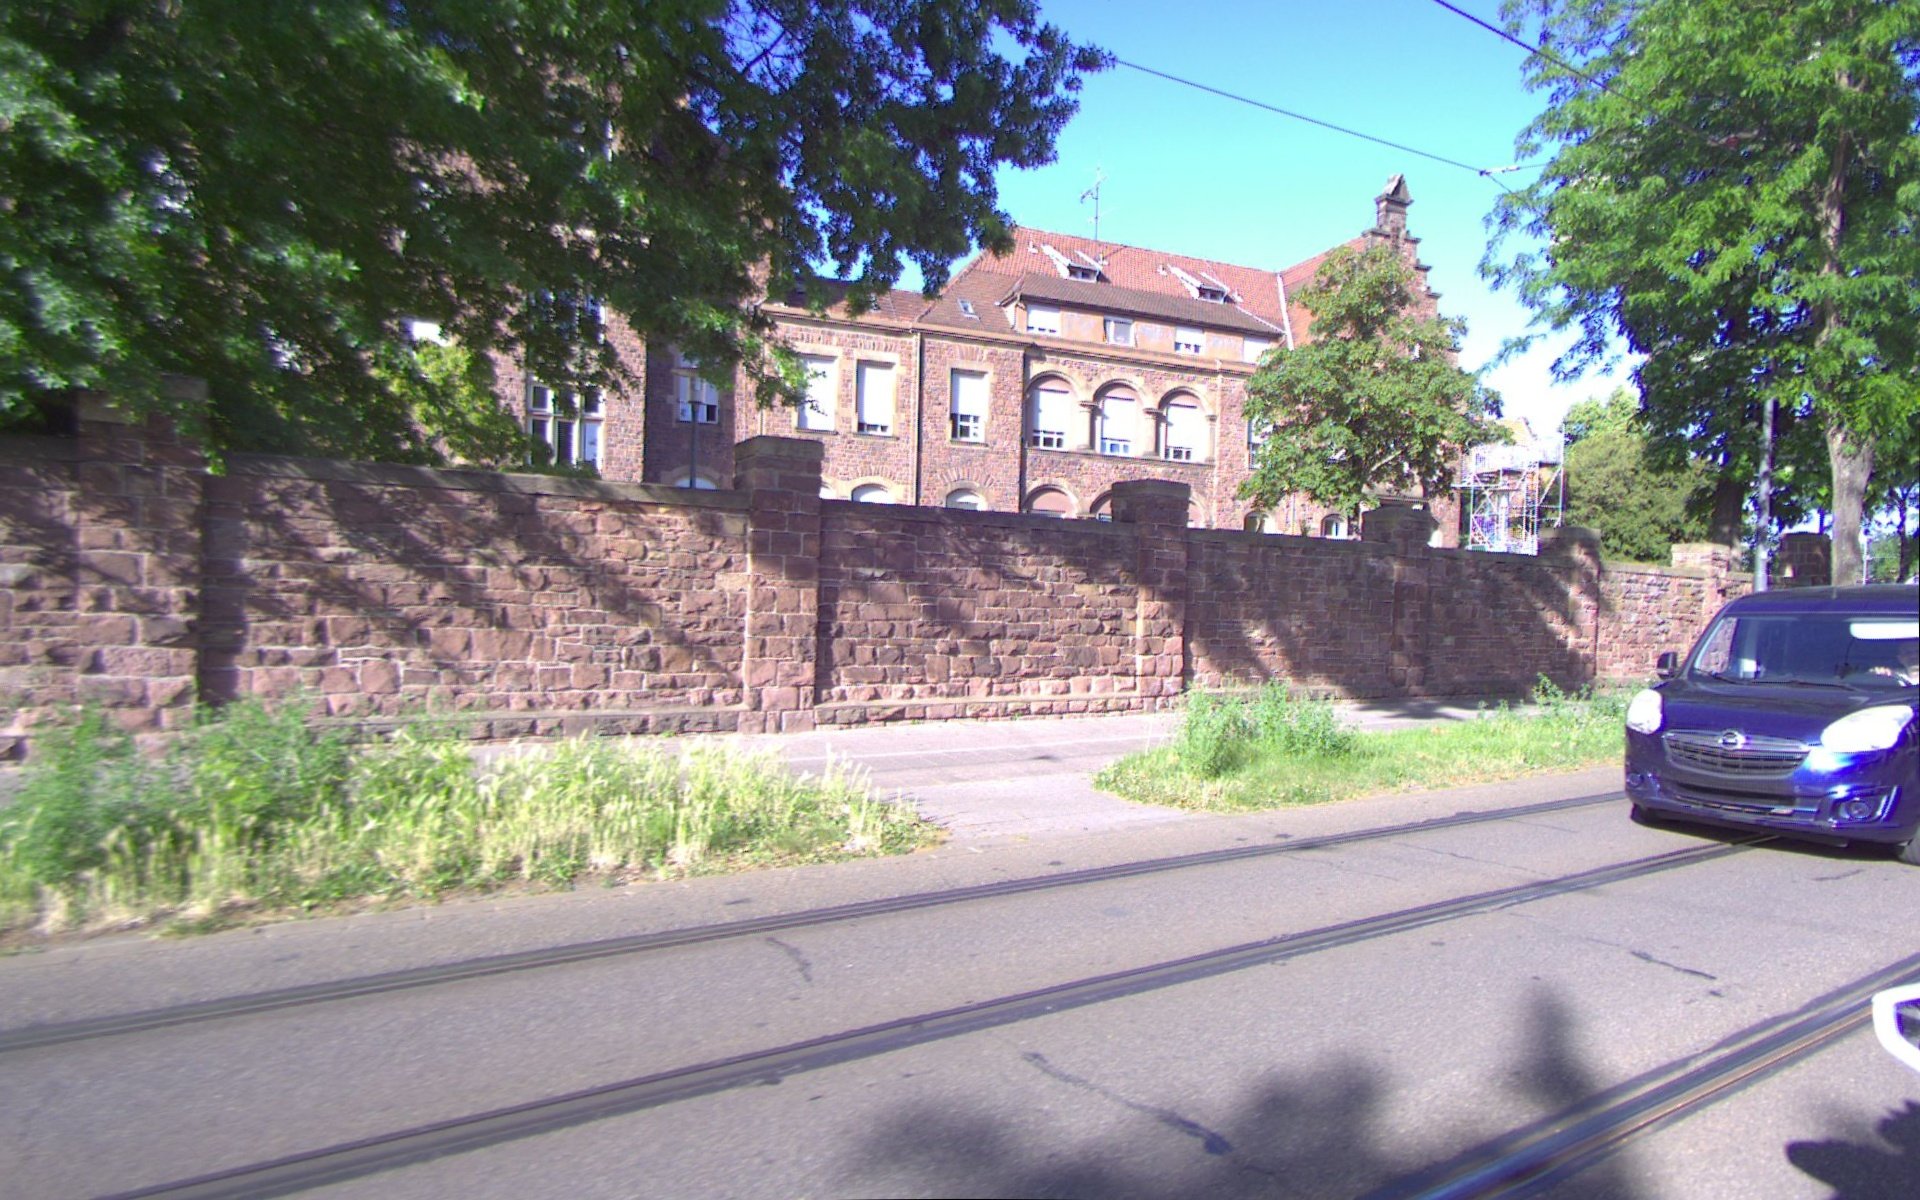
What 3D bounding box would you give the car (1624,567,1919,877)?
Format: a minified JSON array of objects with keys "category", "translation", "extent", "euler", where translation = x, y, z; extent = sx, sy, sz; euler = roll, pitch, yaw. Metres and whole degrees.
[{"category":"car","translation":[6.996,0.745,7.727],"extent":[4.293,1.816,1.622],"euler":[1,0,-34]}]
